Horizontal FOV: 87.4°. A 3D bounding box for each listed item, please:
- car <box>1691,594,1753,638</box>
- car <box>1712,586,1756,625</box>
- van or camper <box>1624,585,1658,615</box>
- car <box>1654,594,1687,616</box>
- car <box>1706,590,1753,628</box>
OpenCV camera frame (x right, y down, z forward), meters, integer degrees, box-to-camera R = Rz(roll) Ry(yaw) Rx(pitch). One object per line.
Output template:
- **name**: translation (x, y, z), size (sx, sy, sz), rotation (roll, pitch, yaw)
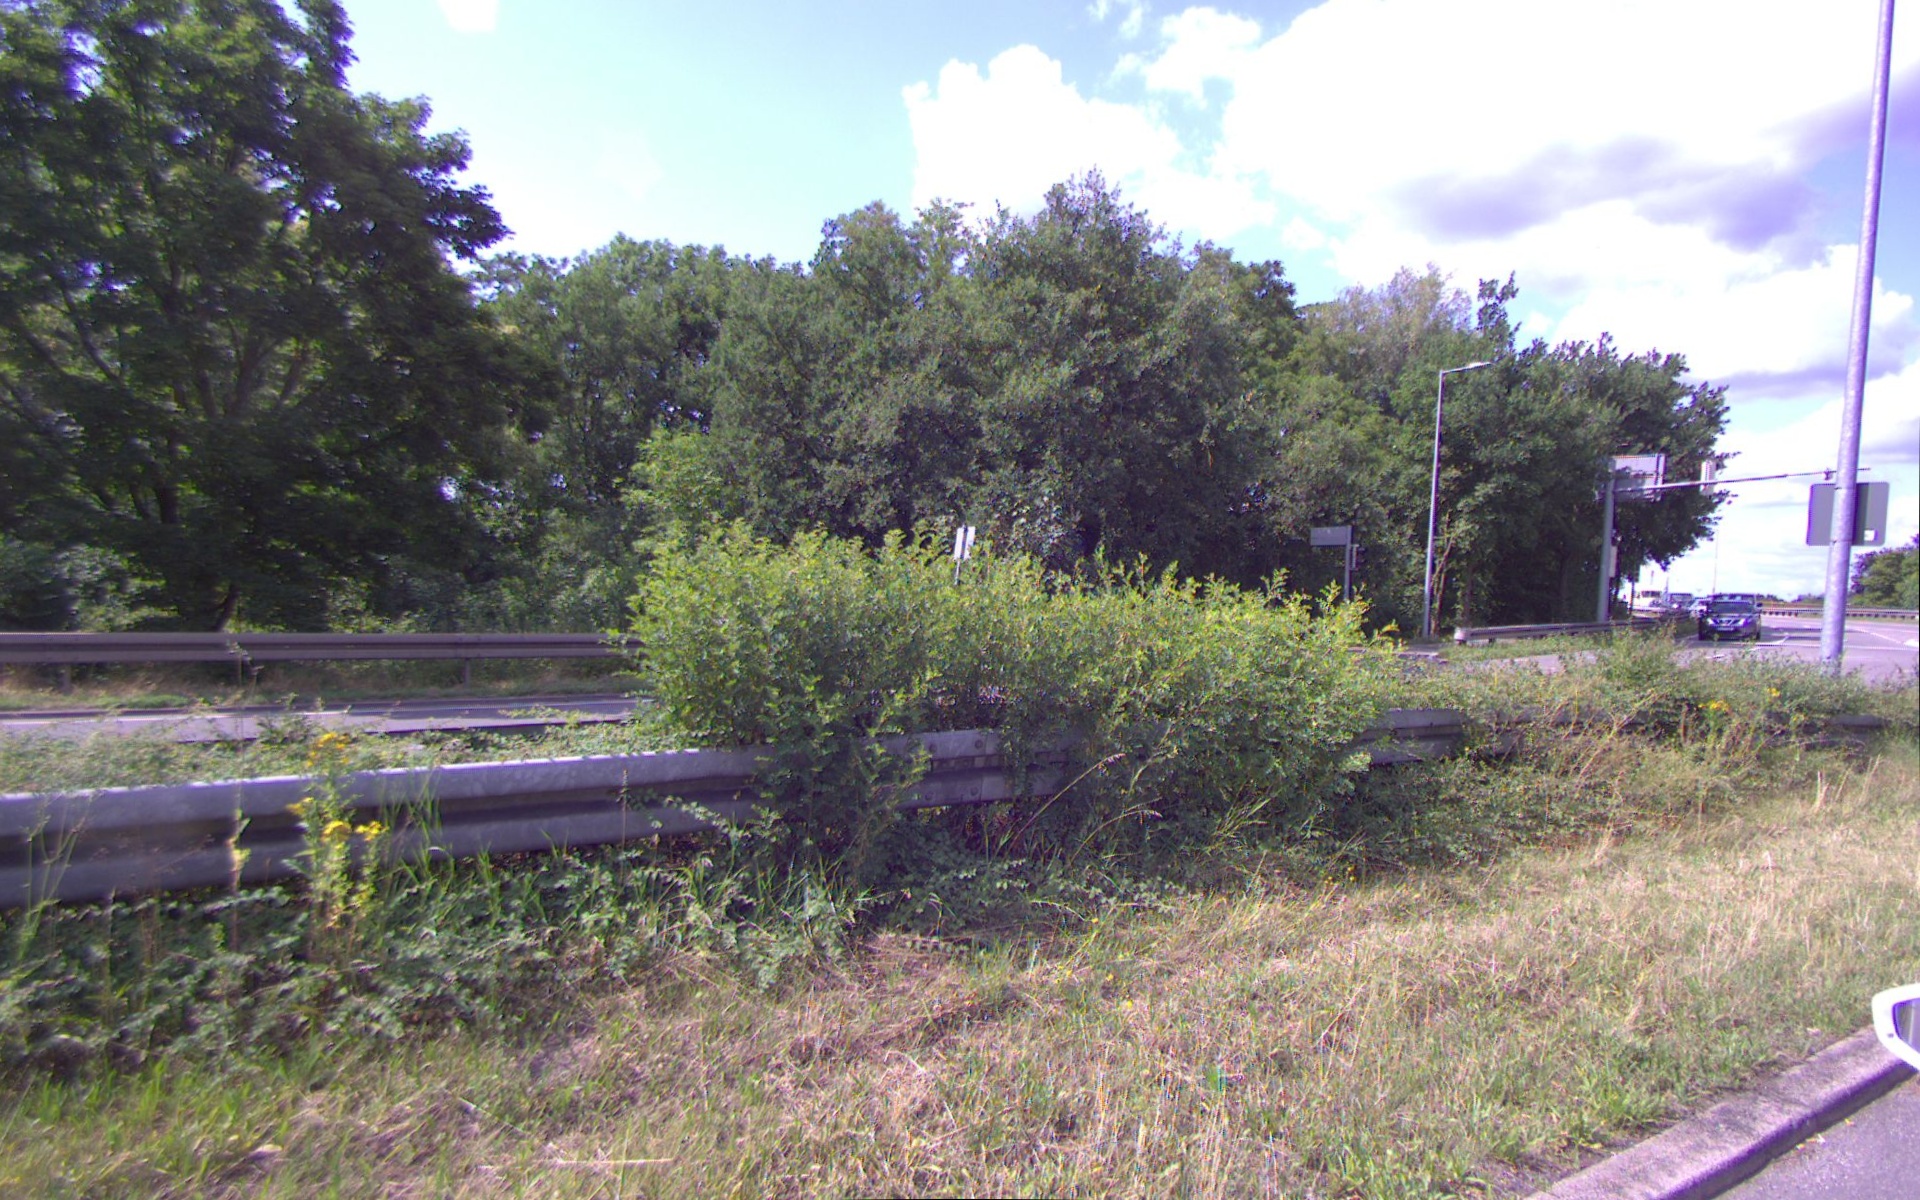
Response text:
- **car**: translation (30.697, 0.670, 40.412), size (1.816, 1.639, 3.982), rotation (2, 0, 39)
- **car**: translation (44.860, 0.317, 58.262), size (1.819, 2.128, 4.311), rotation (2, 1, 36)
- **van or camper**: translation (64.615, 0.033, 95.389), size (1.963, 2.719, 6.852), rotation (2, 1, 28)
- **car**: translation (58.027, 0.377, 82.079), size (1.817, 1.728, 4.316), rotation (2, 1, 32)
- **car**: translation (39.953, 0.468, 52.127), size (1.820, 1.826, 4.307), rotation (2, 1, 39)
